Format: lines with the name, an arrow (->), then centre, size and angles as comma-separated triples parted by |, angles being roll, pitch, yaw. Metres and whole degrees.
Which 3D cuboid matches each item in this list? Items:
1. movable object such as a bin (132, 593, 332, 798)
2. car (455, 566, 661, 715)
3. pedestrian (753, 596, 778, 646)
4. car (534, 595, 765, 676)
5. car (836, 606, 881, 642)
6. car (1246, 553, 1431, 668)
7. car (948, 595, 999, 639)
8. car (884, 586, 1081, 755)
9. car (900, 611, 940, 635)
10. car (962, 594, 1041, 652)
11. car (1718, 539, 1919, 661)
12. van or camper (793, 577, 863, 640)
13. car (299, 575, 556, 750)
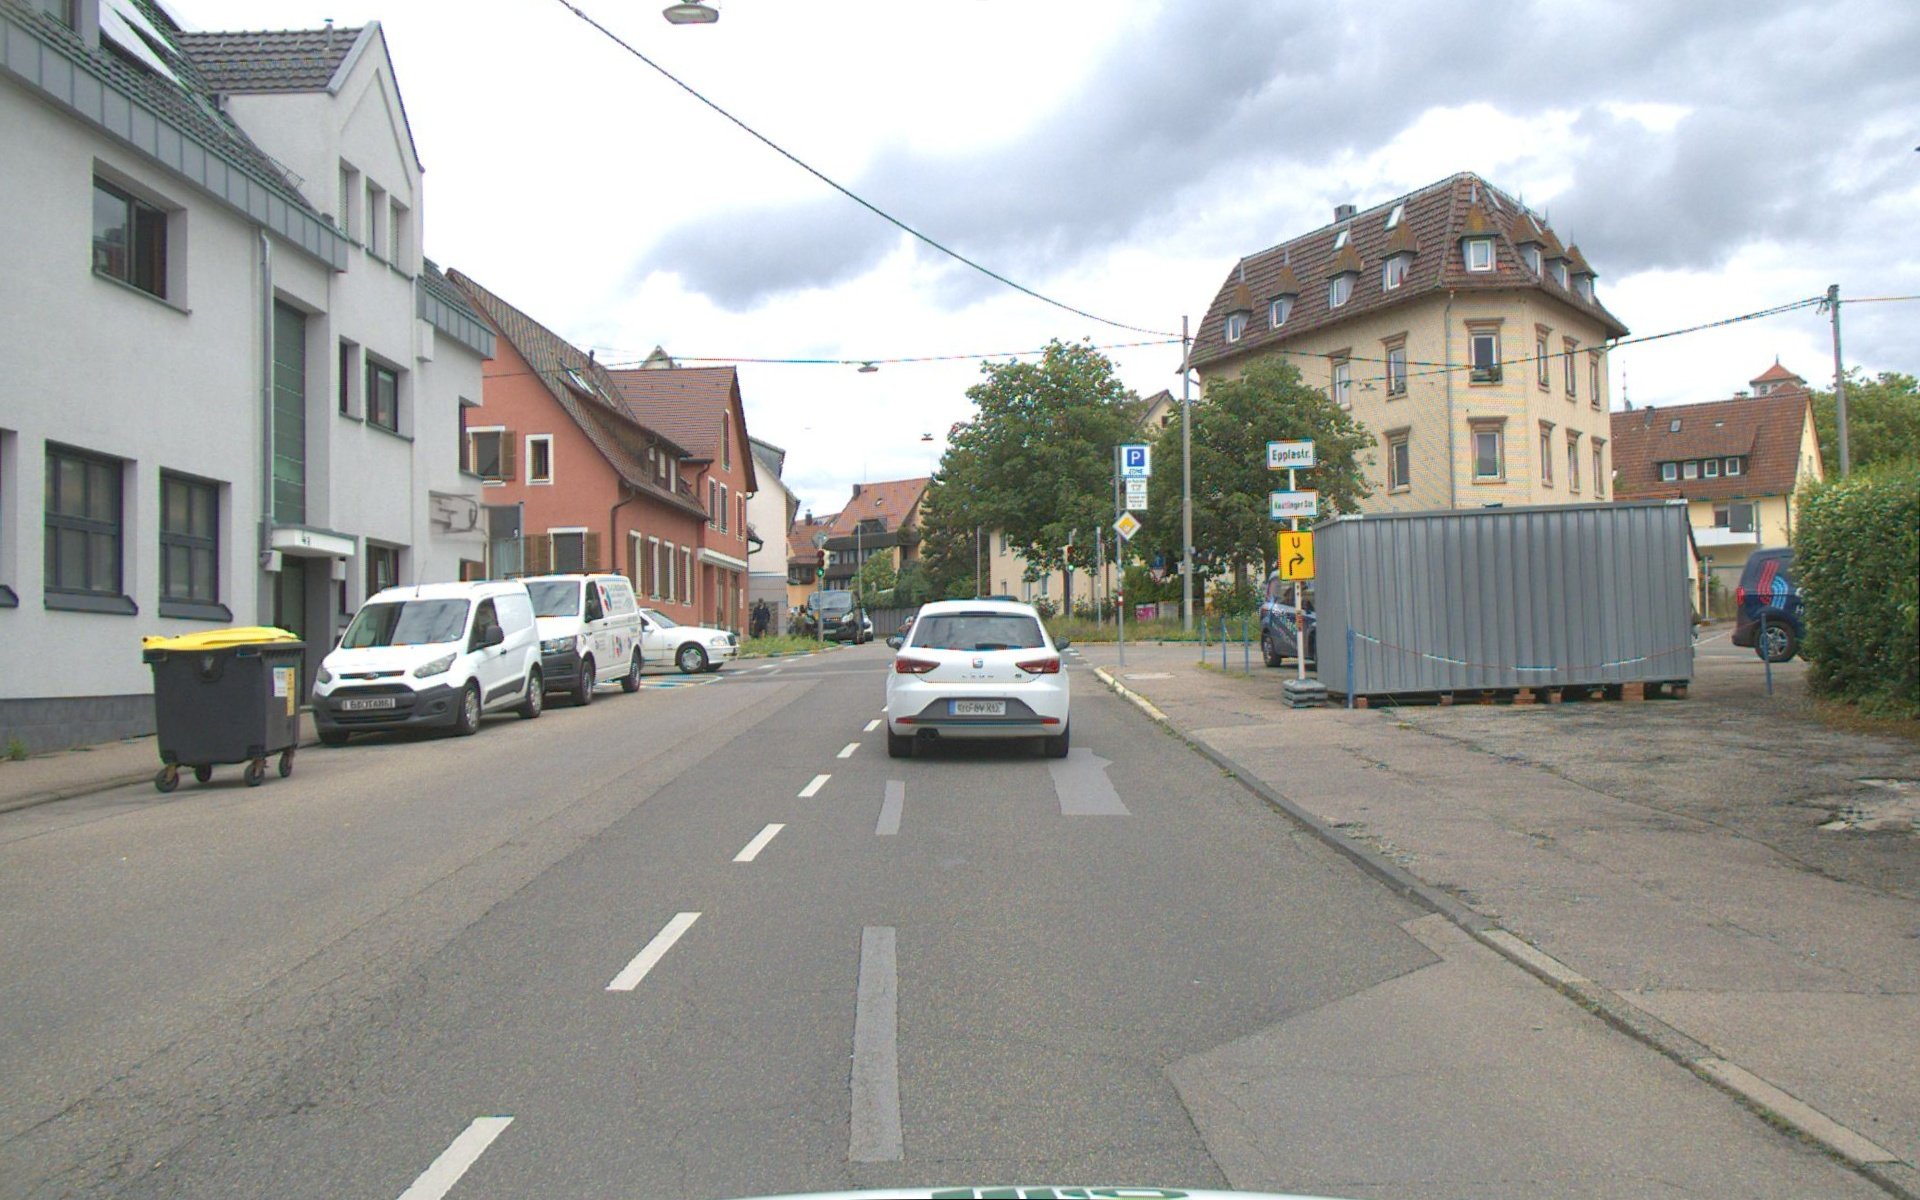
movable object such as a bin -> -6.366, 0.793, 14.578 | 1.118, 1.661, 1.561 | -2, 0, -6
car -> -6.202, 0.561, 26.099 | 1.774, 2.040, 4.765 | -3, 0, 3
pedestrian -> -7.116, 0.757, 60.419 | 0.784, 1.816, 0.893 | 0, 0, 0
car -> -6.608, 0.738, 35.539 | 4.458, 1.470, 2.001 | -3, 0, 4
car -> -4.965, 1.187, 80.302 | 1.960, 1.662, 4.850 | 0, -1, -7
car -> 6.492, 0.158, 28.900 | 1.712, 1.770, 4.566 | -3, 0, -6
car -> 0.440, 0.631, 58.991 | 1.723, 1.477, 3.999 | -1, -1, -1
car -> 0.263, 0.626, 16.629 | 1.722, 1.477, 4.001 | -1, 0, 2
car -> -2.557, 1.484, 105.983 | 1.728, 1.477, 3.985 | 2, -2, -14
car -> 1.086, 0.633, 44.639 | 1.724, 1.477, 3.996 | -1, -1, -4
car -> 13.959, 0.001, 25.284 | 1.848, 1.758, 3.951 | 1, 0, -35
van or camper -> -4.771, 0.354, 60.447 | 2.031, 2.041, 4.857 | -3, -2, 0
car -> -6.466, 0.689, 20.603 | 1.698, 1.863, 4.298 | -3, 0, 0
